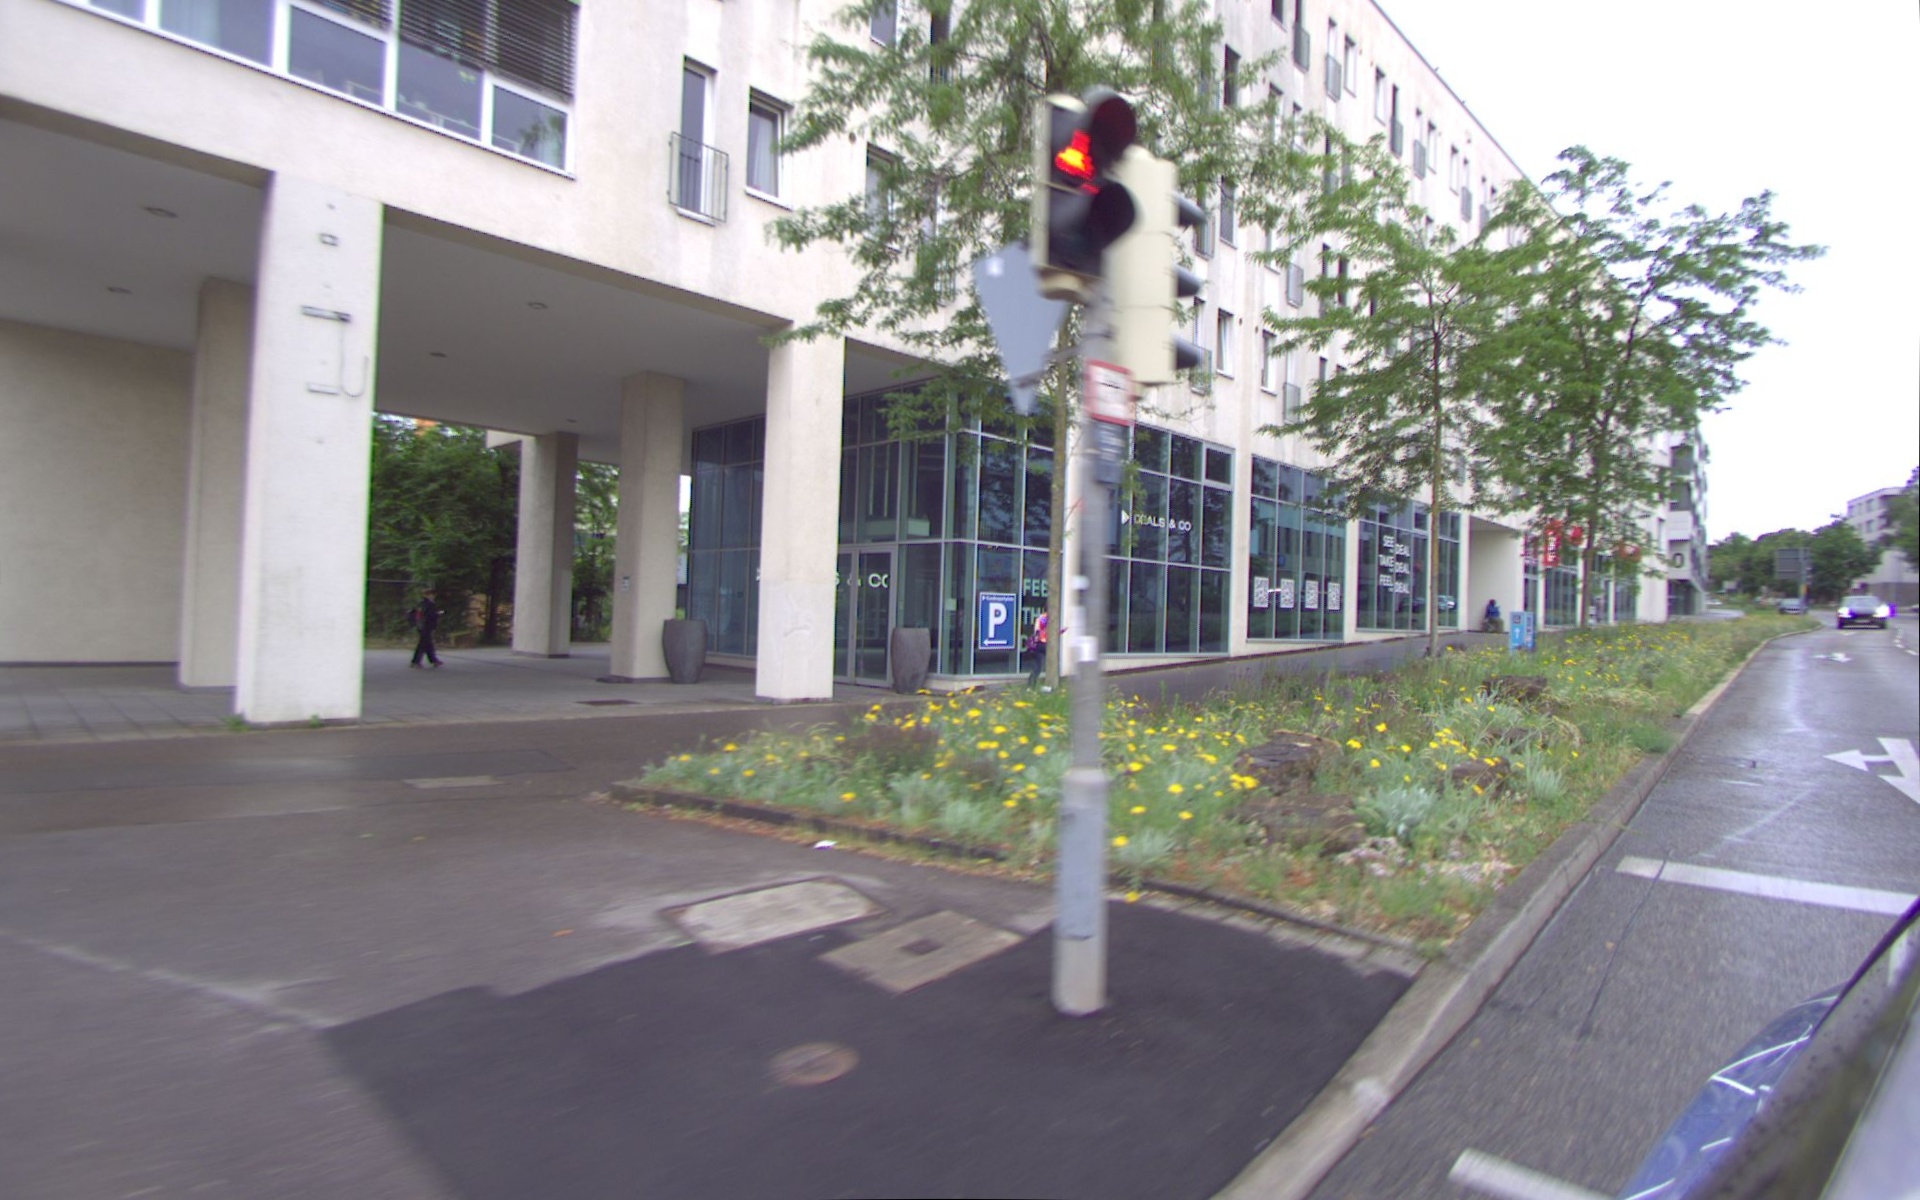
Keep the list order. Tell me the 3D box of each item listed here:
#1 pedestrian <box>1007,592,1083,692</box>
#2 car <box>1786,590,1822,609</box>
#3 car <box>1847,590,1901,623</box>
[{"bbox_3d":[1.530,0.739,18.218,1.070,1.734,0.873,2,-3,-43],"label":"pedestrian"},{"bbox_3d":[69.468,-0.055,83.257,1.993,1.505,3.938,-2,-1,43],"label":"car"},{"bbox_3d":[47.713,0.336,52.785,1.993,1.594,3.938,-2,-1,43],"label":"car"}]
